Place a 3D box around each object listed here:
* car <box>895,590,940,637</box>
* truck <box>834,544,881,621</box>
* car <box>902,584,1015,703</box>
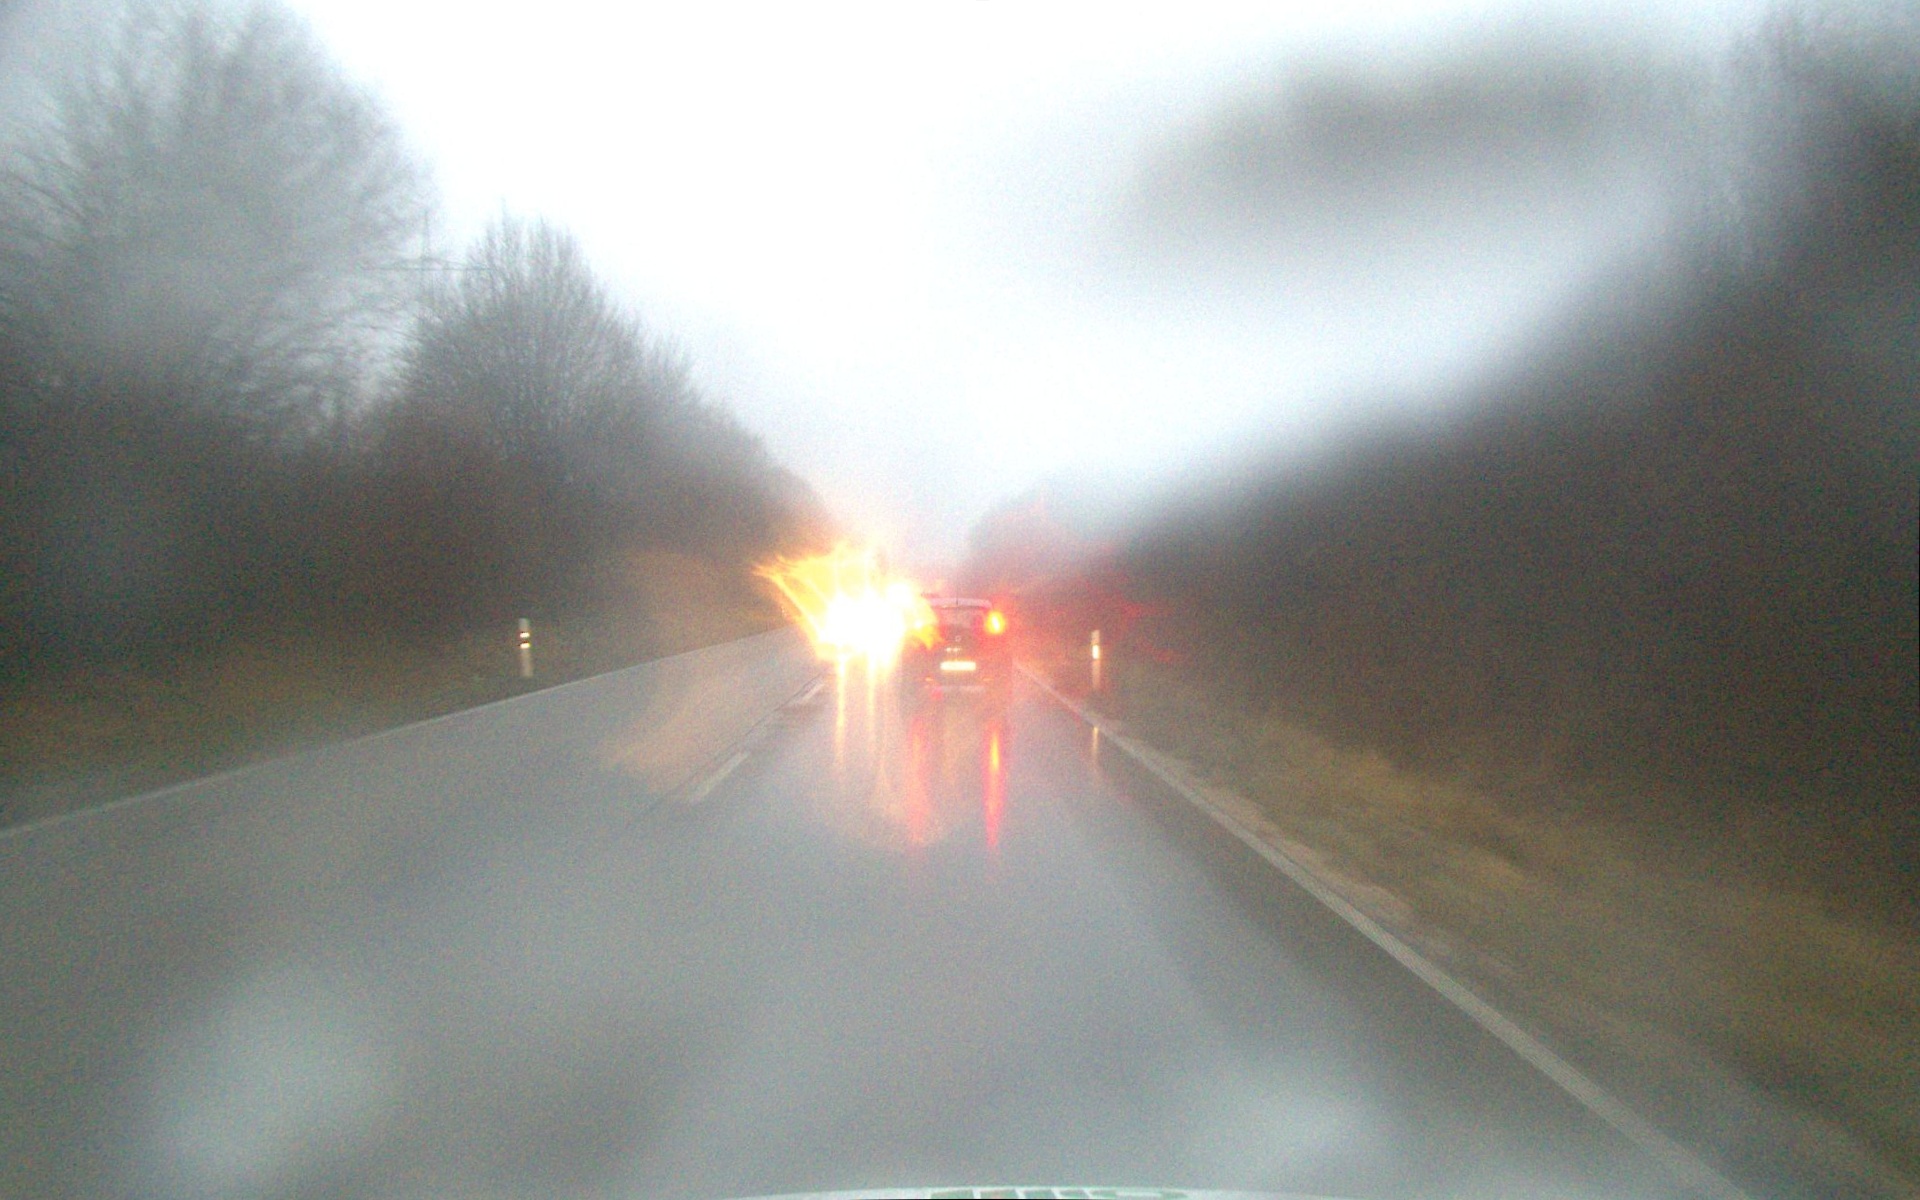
[{"bbox_3d":[-1.683,0.518,65.622,1.698,1.810,3.999,1,0,-2],"label":"car"},{"bbox_3d":[-6.143,-1.009,100.005,2.588,4.493,5.552,1,0,-2],"label":"truck"},{"bbox_3d":[-0.048,0.625,25.590,1.614,1.701,3.513,1,0,-1],"label":"car"}]
